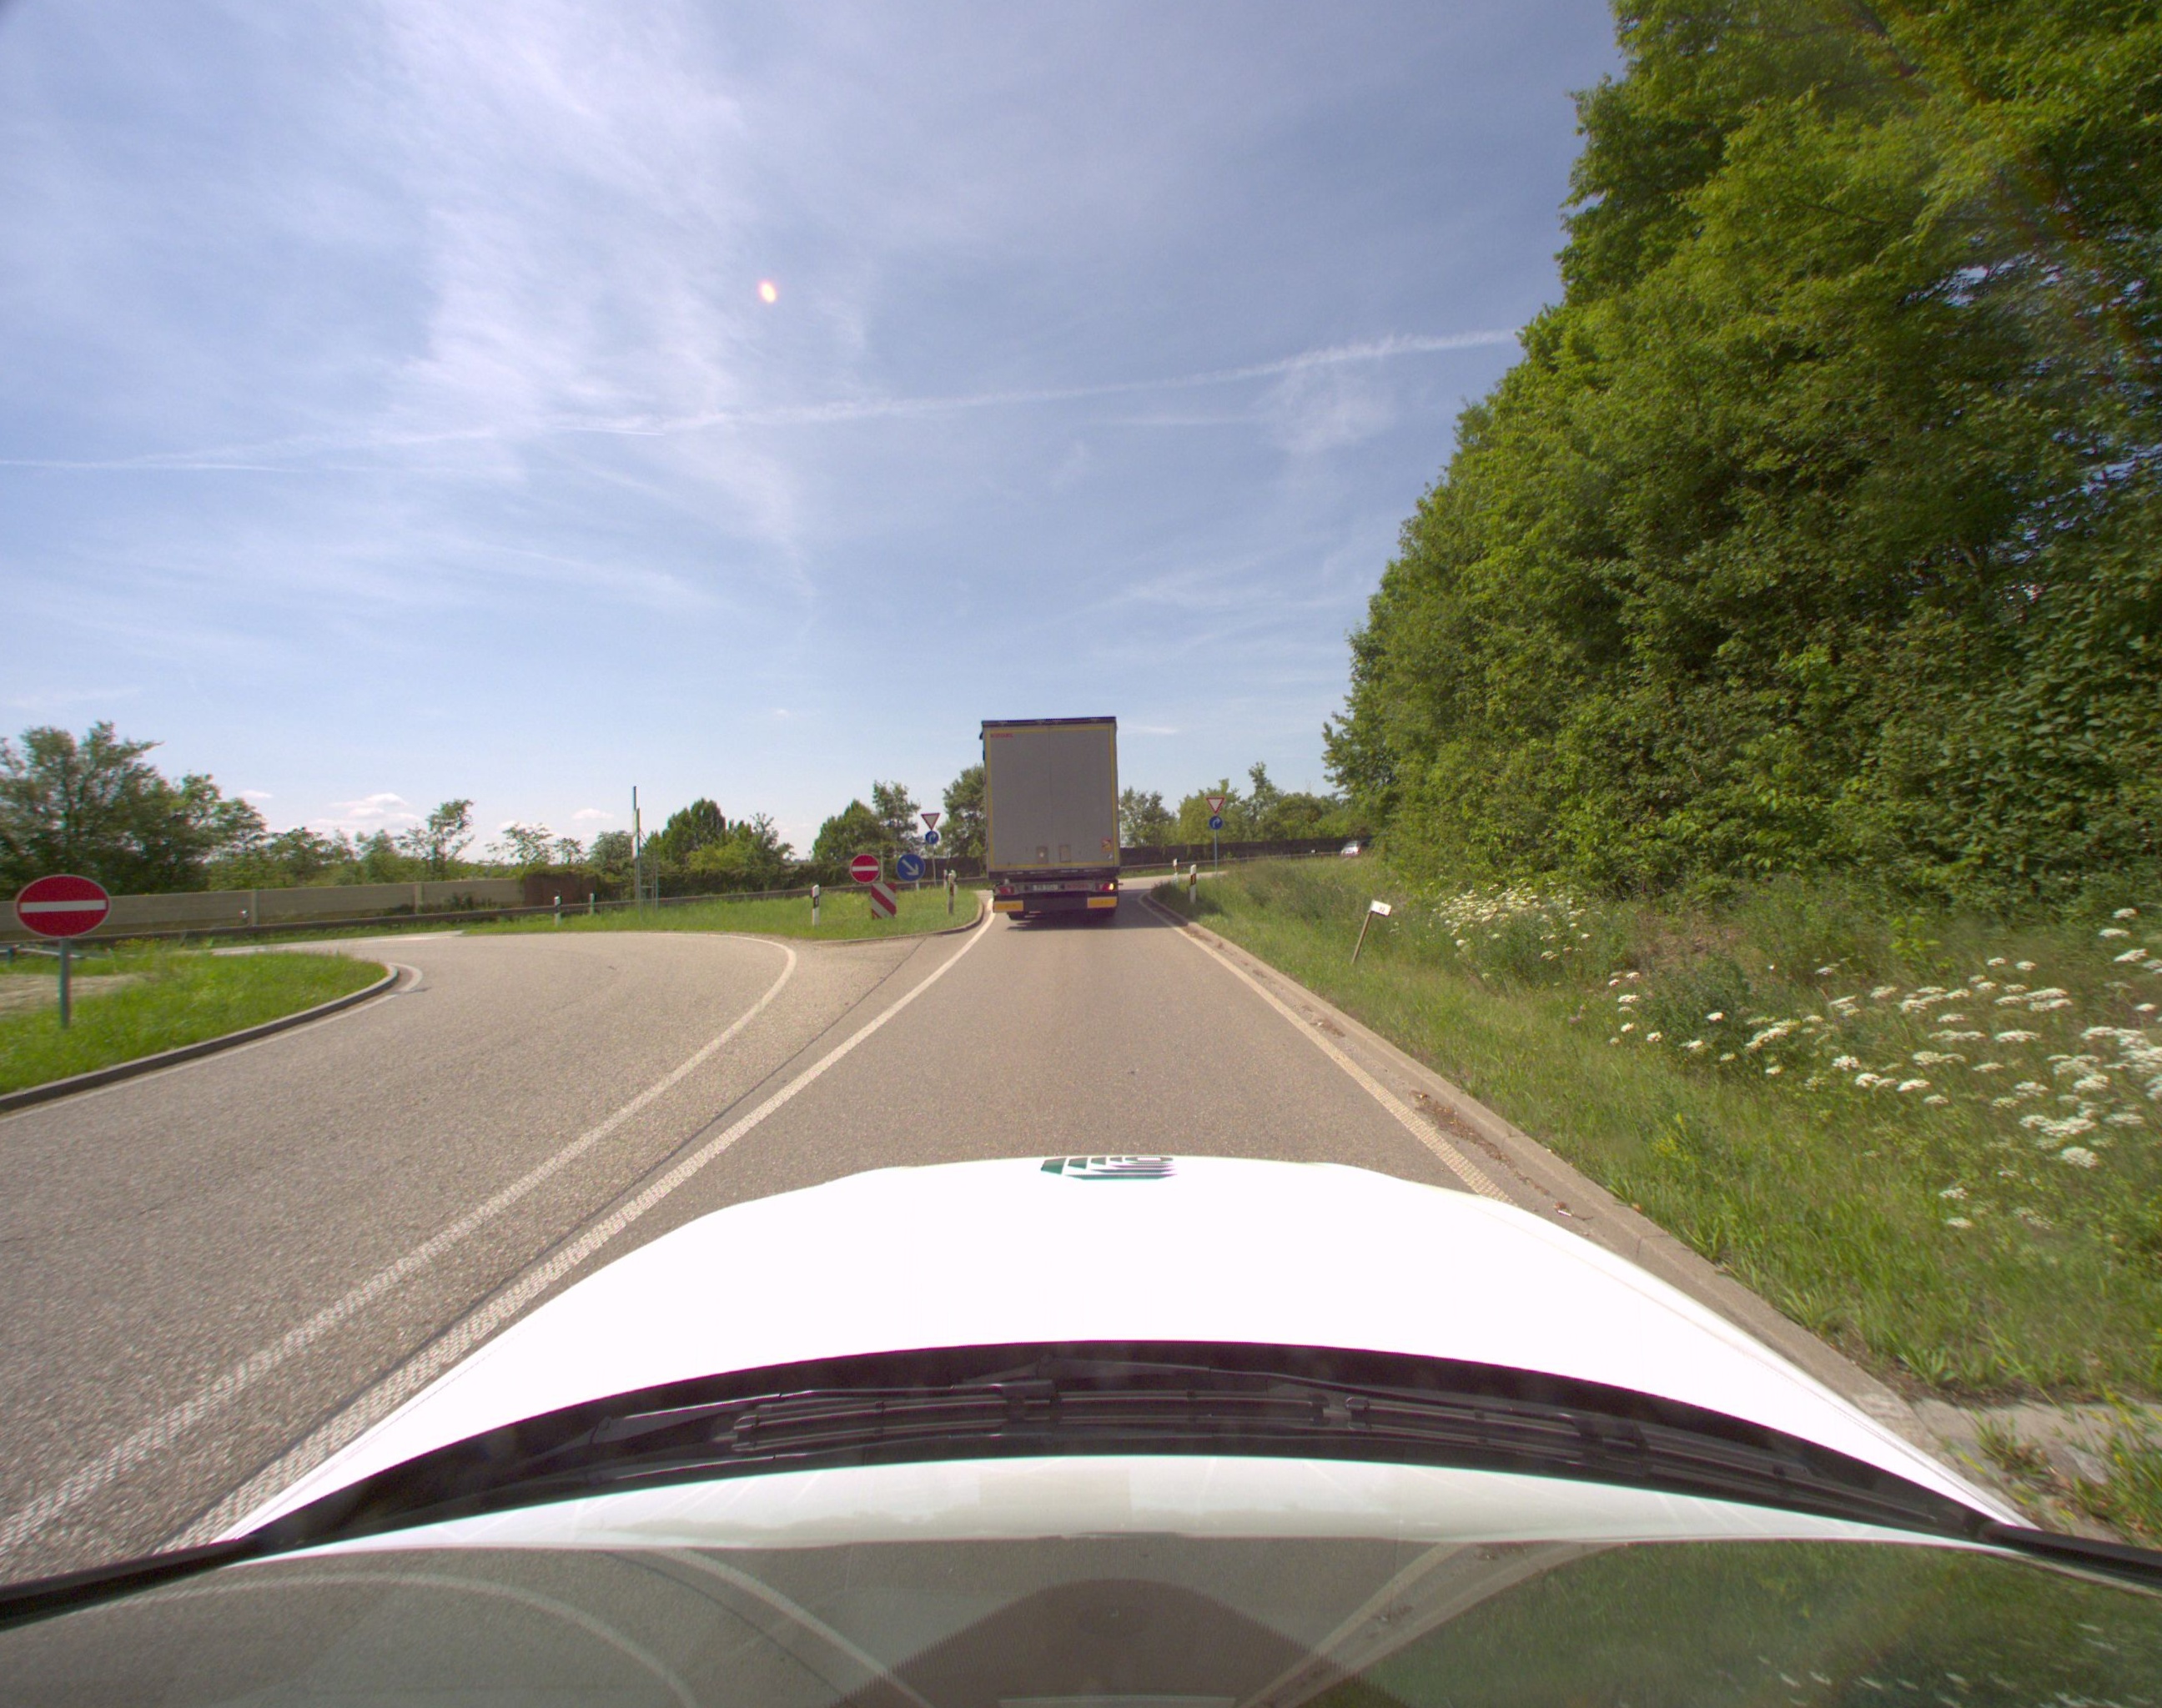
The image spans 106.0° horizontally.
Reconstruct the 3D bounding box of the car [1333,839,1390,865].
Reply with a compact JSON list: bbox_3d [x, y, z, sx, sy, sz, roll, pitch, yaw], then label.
[{"bbox_3d":[18.230,-0.135,52.928,4.021,1.486,1.651,-3,0,-41],"label":"car"}]

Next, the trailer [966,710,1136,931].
[{"bbox_3d":[-0.510,-0.616,21.924,3.017,4.034,13.351,-2,0,0],"label":"trailer"}]

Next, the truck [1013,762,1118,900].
[{"bbox_3d":[-0.458,-0.692,28.926,3.142,4.224,7.121,-2,-1,0],"label":"truck"}]
